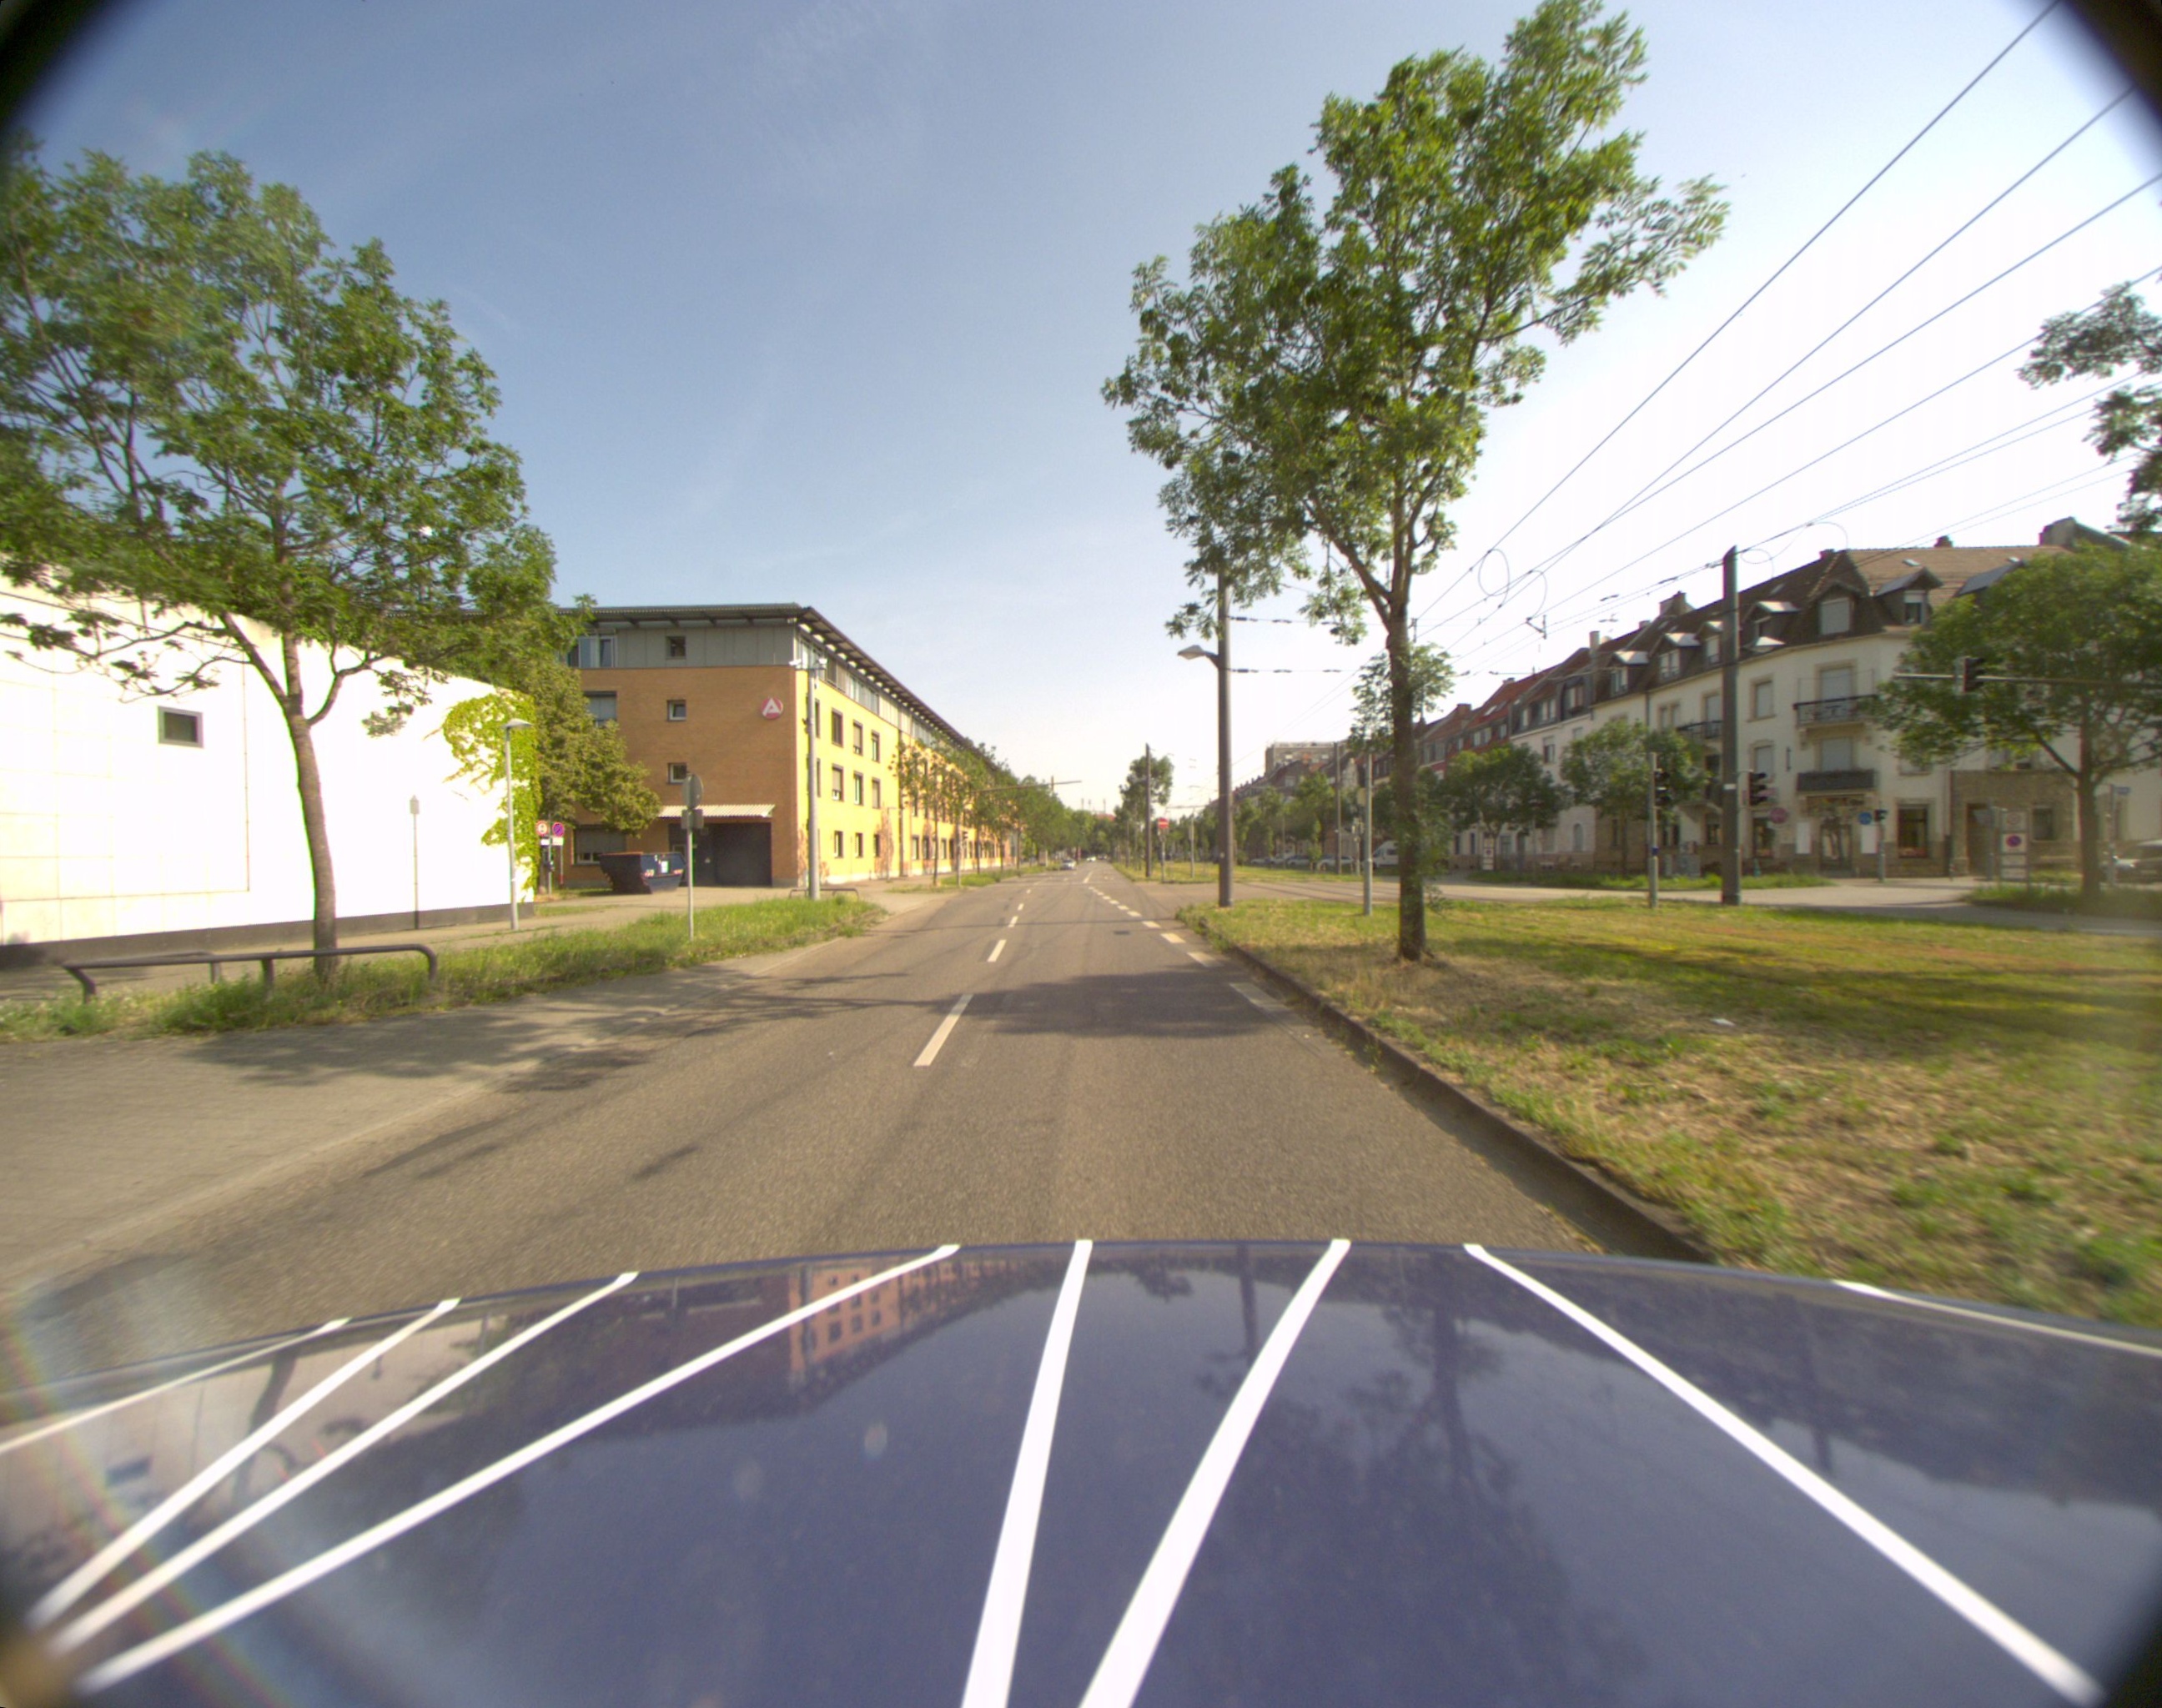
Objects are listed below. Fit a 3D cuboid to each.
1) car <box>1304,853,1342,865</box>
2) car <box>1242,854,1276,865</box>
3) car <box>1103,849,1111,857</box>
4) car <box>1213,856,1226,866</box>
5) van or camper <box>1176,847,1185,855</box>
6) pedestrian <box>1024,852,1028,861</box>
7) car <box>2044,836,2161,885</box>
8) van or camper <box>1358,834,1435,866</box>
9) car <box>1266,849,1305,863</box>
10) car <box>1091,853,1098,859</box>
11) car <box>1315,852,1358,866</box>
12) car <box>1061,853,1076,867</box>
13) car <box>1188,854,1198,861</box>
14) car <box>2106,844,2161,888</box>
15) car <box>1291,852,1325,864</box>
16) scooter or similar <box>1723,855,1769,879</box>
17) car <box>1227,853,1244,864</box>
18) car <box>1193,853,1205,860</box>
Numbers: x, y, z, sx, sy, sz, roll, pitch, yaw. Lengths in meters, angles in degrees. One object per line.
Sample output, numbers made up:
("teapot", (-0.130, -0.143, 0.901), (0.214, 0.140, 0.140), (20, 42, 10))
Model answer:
("car", (27.193, 0.580, 85.392), (3.677, 1.234, 1.665), (-3, 1, 36))
("car", (28.401, 0.894, 121.460), (4.765, 1.477, 2.026), (-3, 1, 34))
("car", (7.791, -0.277, 226.614), (1.998, 2.002, 4.000), (-3, 1, 3))
("car", (24.176, 1.176, 132.754), (1.768, 1.646, 4.001), (-3, 1, 5))
("van or camper", (30.607, -0.973, 233.254), (1.956, 2.085, 5.352), (-3, 1, 1))
("pedestrian", (-9.551, 0.465, 132.391), (0.697, 1.647, 0.773), (0, 1, 2))
("car", (44.582, 0.258, 32.666), (3.997, 1.839, 1.833), (-3, 1, 0))
("van or camper", (28.261, -0.381, 68.160), (5.910, 2.559, 2.203), (-3, 1, 36))
("car", (29.012, 0.313, 107.973), (4.939, 1.716, 1.860), (-3, 1, 36))
("car", (3.434, 0.588, 195.192), (1.693, 1.476, 3.366), (-3, 1, 0))
("car", (27.523, 0.558, 81.853), (4.004, 1.309, 1.665), (-3, 1, 36))
("car", (-1.524, 0.724, 93.997), (1.629, 1.476, 3.366), (-3, 1, 0))
("car", (27.503, 0.905, 186.381), (1.998, 1.621, 5.380), (-3, 1, 3))
("car", (44.098, 0.424, 30.288), (3.997, 1.611, 1.833), (-3, 1, 0))
("car", (28.317, 0.503, 94.666), (3.677, 1.234, 1.665), (-3, 1, 36))
("scooter or similar", (31.986, 0.612, 36.567), (0.742, 1.062, 1.486), (-3, 1, -20))
("car", (23.681, 0.697, 116.896), (1.817, 1.425, 3.925), (-3, 1, 1))
("car", (26.260, 0.530, 169.402), (1.952, 1.451, 4.648), (-3, 1, 2))
